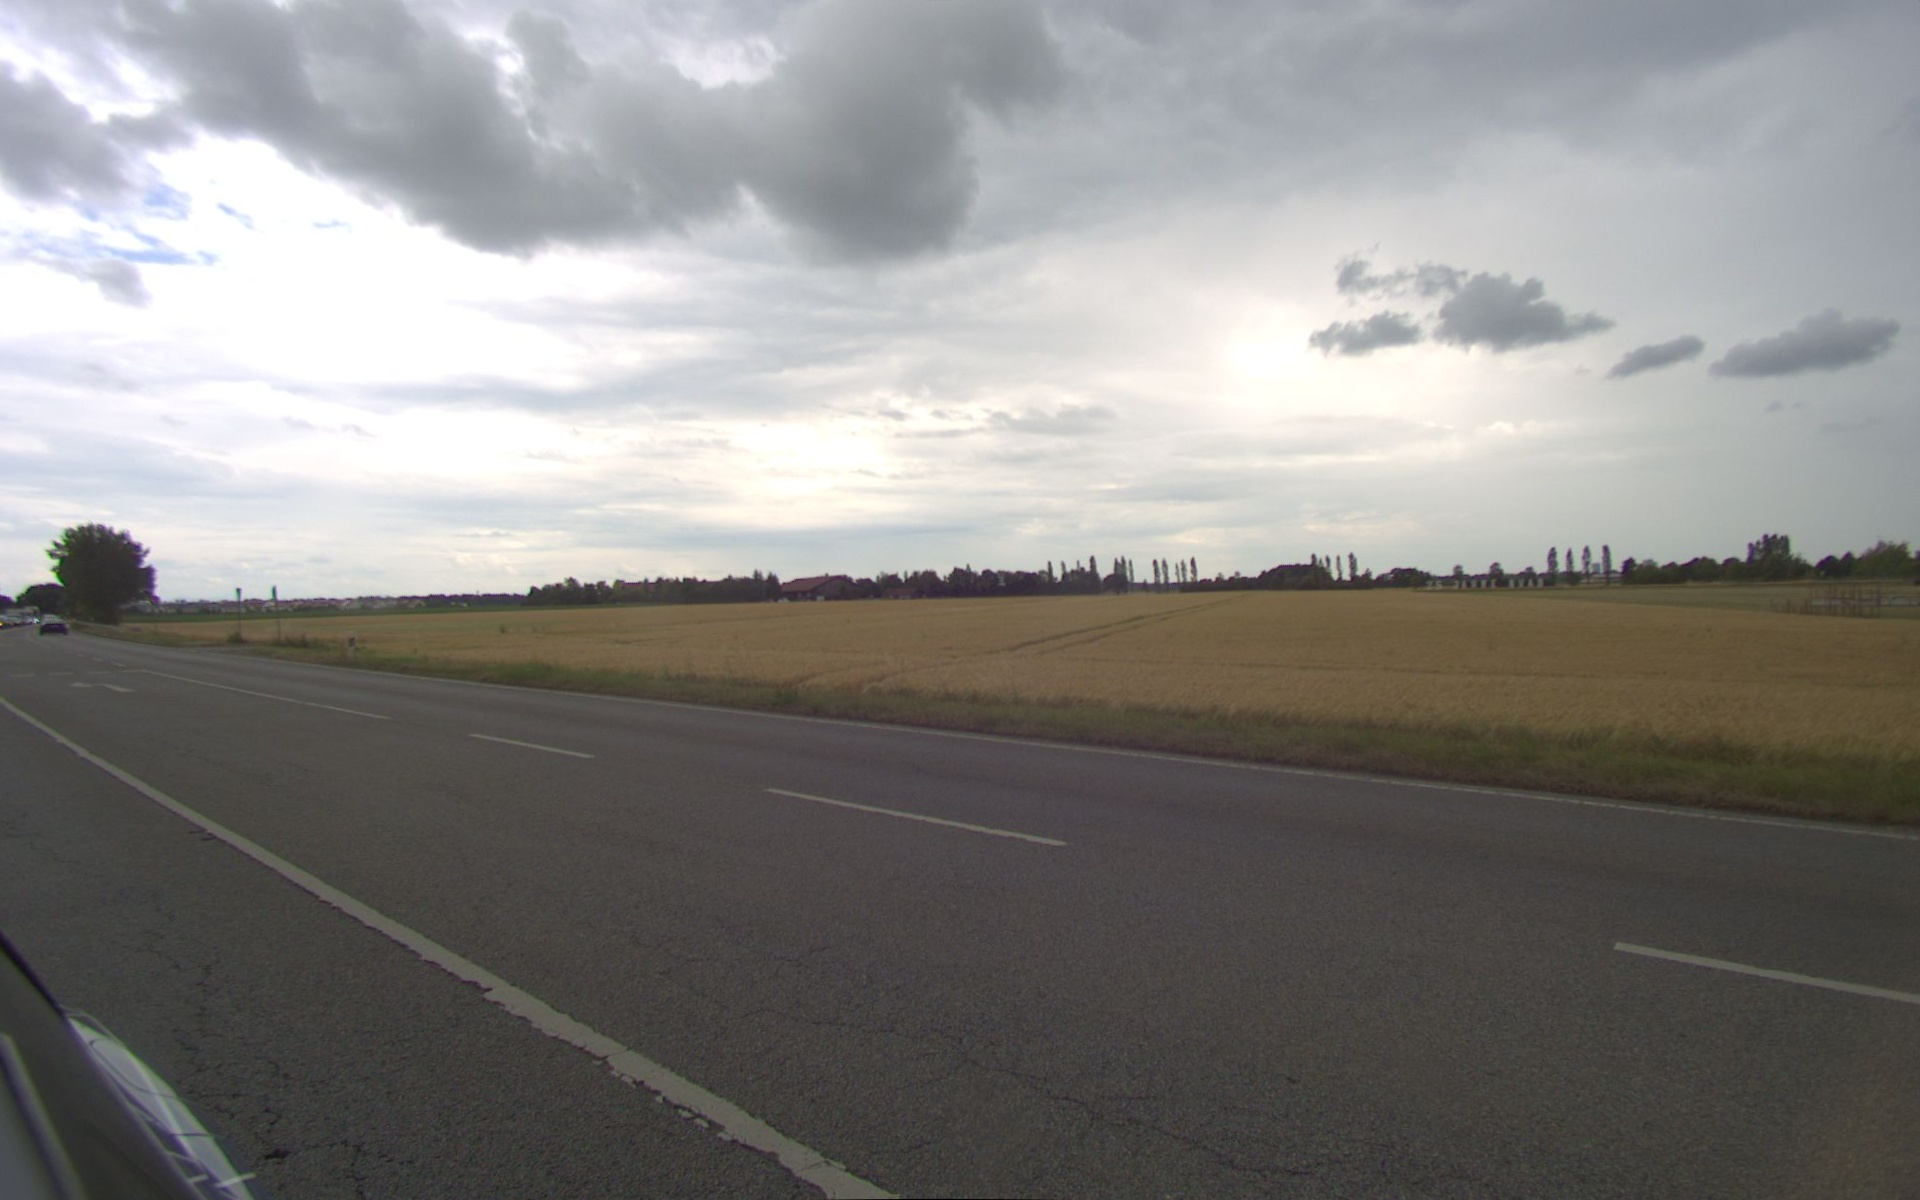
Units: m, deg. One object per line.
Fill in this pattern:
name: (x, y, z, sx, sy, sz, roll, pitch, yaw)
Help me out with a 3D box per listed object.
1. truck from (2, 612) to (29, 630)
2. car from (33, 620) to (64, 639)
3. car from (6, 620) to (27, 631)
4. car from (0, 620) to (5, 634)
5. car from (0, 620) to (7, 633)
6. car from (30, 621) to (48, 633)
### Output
truck: (-152.135, 3.314, 163.055, 2.284, 2.786, 7.689, -1, 0, -37)
car: (-76.243, 2.472, 84.647, 1.804, 1.421, 4.430, -2, 1, -41)
car: (-135.636, 3.648, 145.521, 1.766, 1.551, 4.146, 0, -1, -37)
car: (-111.905, 3.113, 117.044, 1.766, 1.595, 4.144, 0, -1, -39)
car: (-117.281, 3.267, 122.766, 1.924, 1.595, 4.145, 0, -1, -37)
car: (-140.020, 4.070, 153.875, 1.923, 1.707, 4.452, 0, -1, -41)
